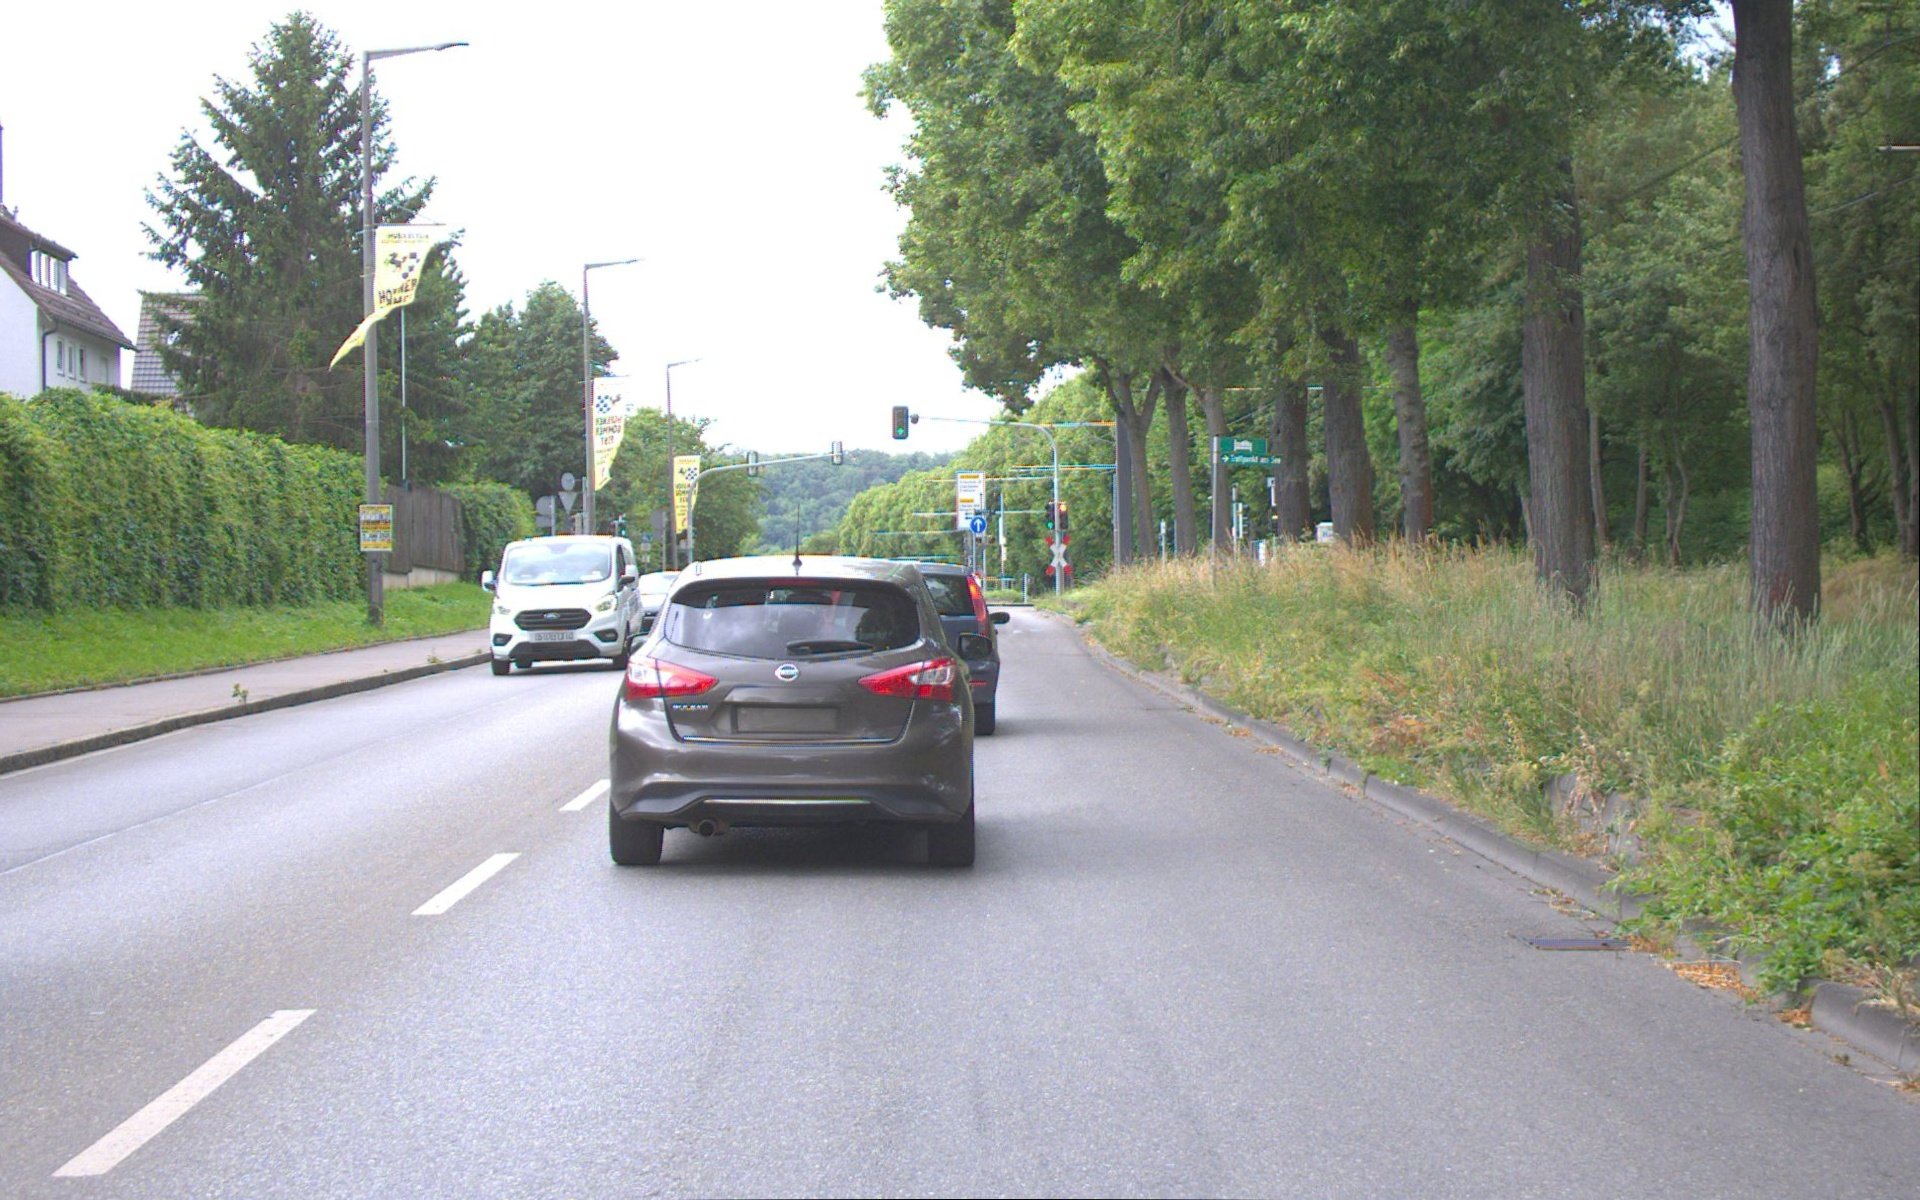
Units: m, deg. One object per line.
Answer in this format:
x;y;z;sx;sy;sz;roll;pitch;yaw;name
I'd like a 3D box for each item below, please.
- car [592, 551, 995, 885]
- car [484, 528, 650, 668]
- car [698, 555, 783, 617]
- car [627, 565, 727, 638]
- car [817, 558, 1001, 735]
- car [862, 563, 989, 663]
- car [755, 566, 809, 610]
-0.793;0.515;18.119;1.835;1.514;4.483;1;1;-1;car
-5.790;-0.052;51.192;1.906;1.925;4.911;-2;0;0;car
-5.240;-0.350;82.589;1.886;1.378;4.491;-2;1;-2;car
-5.580;0.010;68.172;1.650;1.343;4.478;-2;1;-1;car
-0.452;0.370;30.790;1.538;1.473;3.764;0;1;-1;car
-0.514;0.162;50.819;1.792;1.392;4.000;-1;1;-1;car
-6.333;-0.444;122.555;1.728;1.459;4.154;-2;1;-1;car
